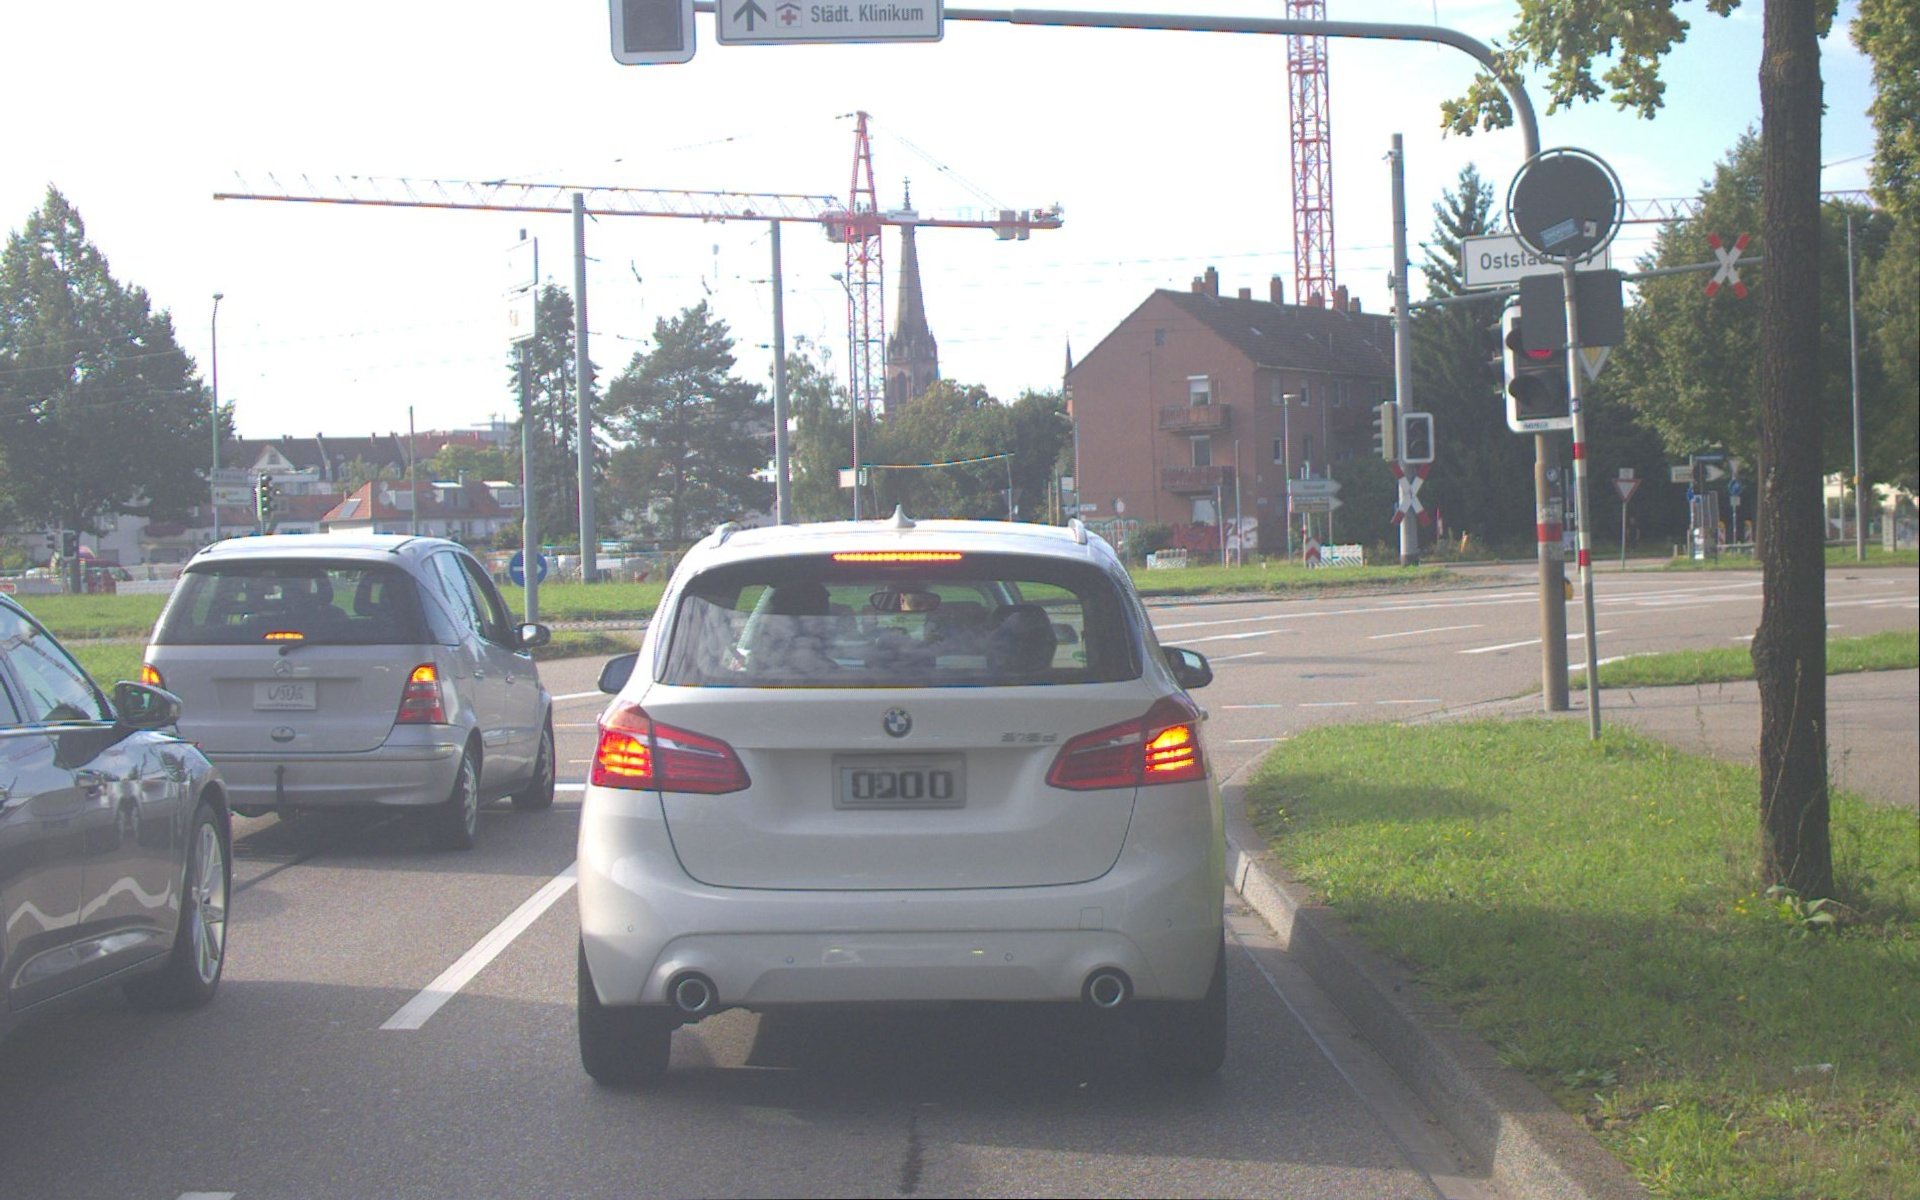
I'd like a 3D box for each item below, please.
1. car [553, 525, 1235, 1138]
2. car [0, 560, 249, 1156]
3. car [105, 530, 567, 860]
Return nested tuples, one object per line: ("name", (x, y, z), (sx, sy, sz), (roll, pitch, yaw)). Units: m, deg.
("car", (-0.194, 0.553, 10.787), (1.729, 1.553, 4.058), (0, 1, -1))
("car", (-3.340, 0.635, 9.407), (1.890, 1.478, 4.613), (0, 1, -1))
("car", (-3.175, 0.412, 18.257), (1.729, 1.553, 4.058), (0, 1, 0))
